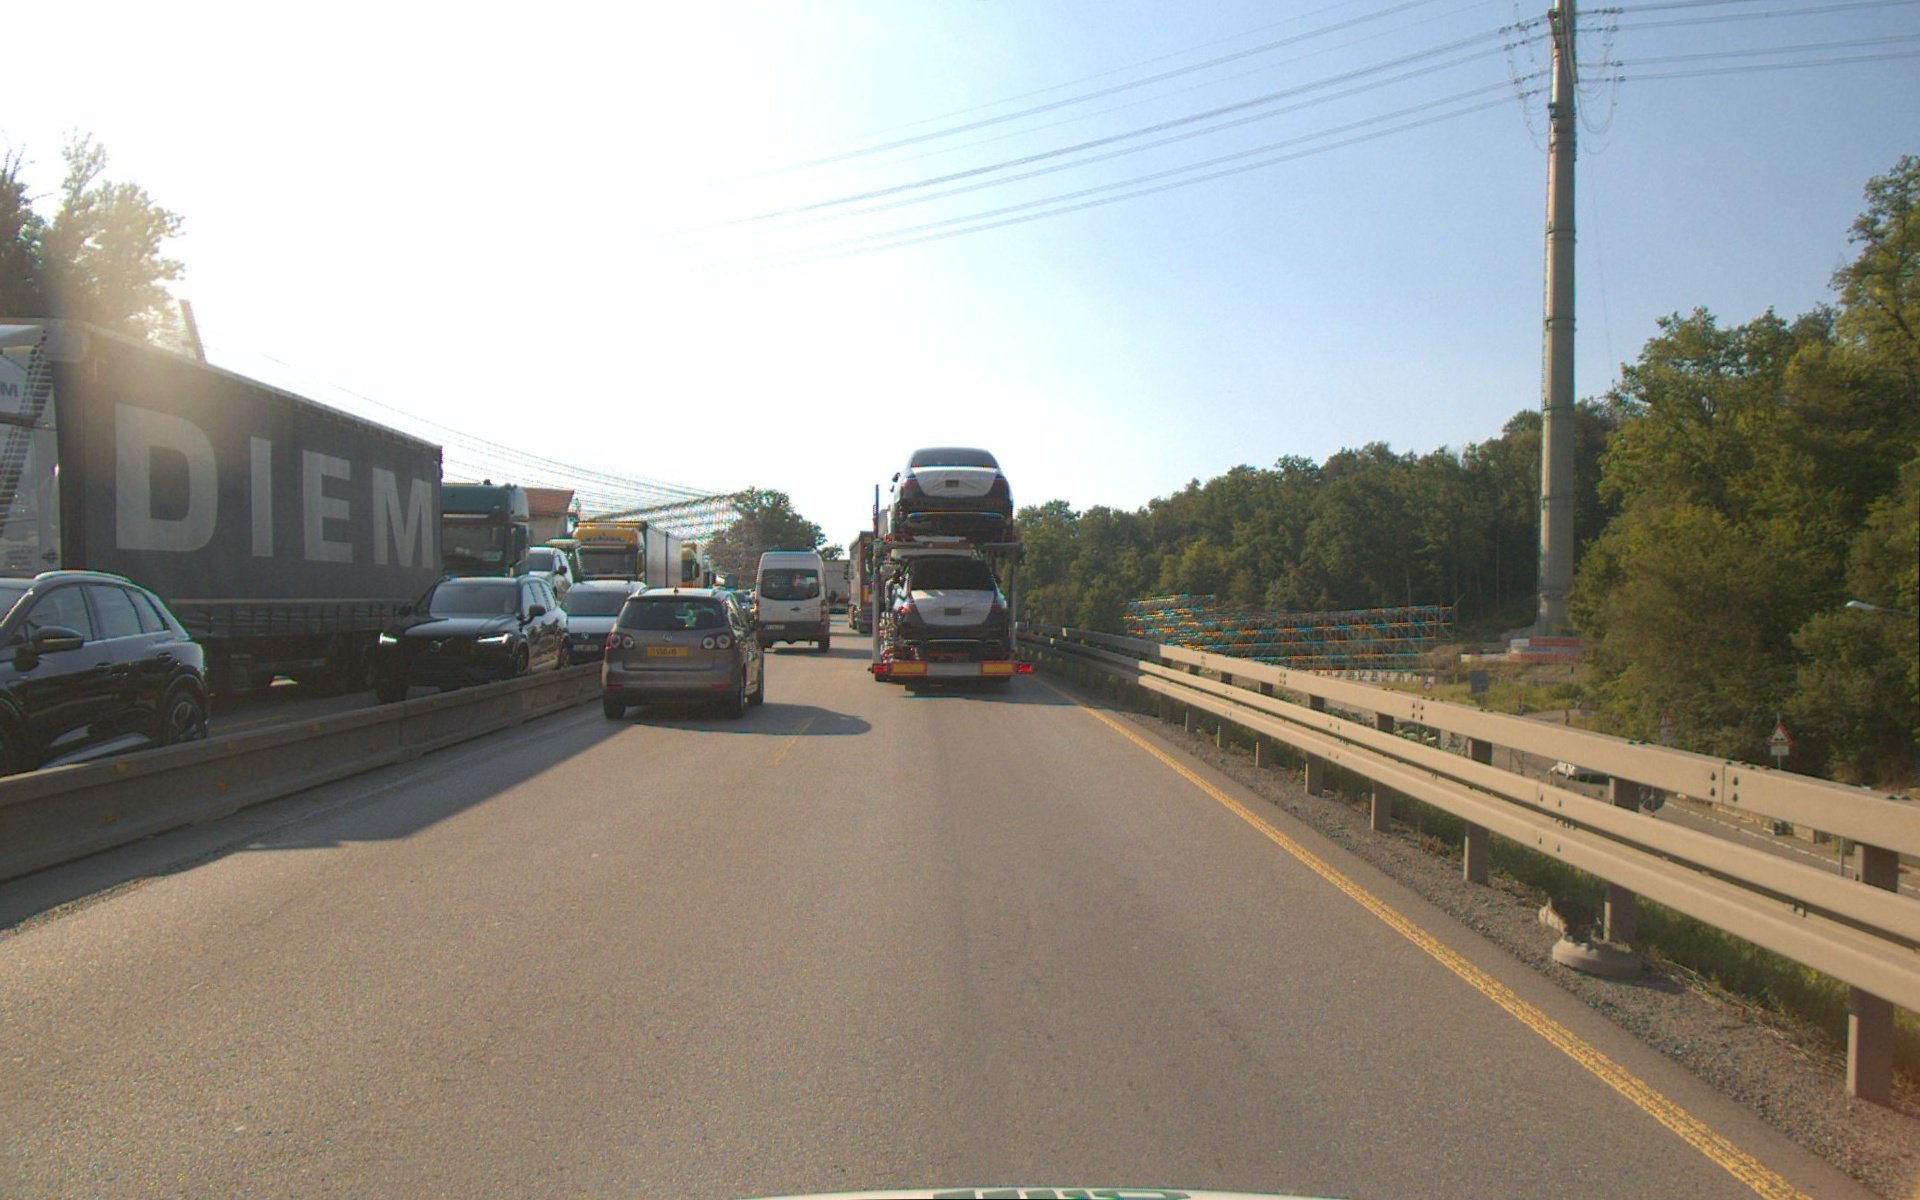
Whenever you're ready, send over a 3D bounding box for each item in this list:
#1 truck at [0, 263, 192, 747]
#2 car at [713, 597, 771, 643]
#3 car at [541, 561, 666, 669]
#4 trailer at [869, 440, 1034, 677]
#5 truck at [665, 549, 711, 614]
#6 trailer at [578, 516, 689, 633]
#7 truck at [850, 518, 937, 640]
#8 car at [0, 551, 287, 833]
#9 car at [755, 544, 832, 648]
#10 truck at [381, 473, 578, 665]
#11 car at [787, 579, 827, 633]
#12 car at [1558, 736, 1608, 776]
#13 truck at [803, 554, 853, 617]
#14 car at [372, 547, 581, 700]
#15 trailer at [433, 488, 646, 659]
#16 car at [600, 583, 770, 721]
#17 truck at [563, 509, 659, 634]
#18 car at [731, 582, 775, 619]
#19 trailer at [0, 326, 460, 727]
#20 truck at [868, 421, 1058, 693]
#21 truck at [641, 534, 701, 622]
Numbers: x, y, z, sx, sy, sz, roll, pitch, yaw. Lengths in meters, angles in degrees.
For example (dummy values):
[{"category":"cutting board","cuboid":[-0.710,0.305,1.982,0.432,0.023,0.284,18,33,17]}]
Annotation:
[{"category":"truck","cuboid":[-9.714,-0.792,15.671,2.694,4.187,5.027,-1,0,-4]},{"category":"car","cuboid":[-8.197,0.765,62.427,1.921,1.673,4.843,0,-1,-5]},{"category":"car","cuboid":[-7.271,0.331,34.165,1.788,1.967,5.125,-3,-1,-5]},{"category":"trailer","cuboid":[-0.502,-0.617,36.091,2.817,4.064,15.269,0,-1,-3]},{"category":"truck","cuboid":[-18.697,-1.127,114.260,2.756,4.040,13.866,1,-1,-8]},{"category":"trailer","cuboid":[-13.100,-0.812,67.765,2.662,4.207,16.733,0,-1,-5]},{"category":"truck","cuboid":[-3.015,-0.886,70.825,3.165,4.758,11.683,0,1,-5]},{"category":"car","cuboid":[-6.561,0.579,11.353,1.839,1.633,5.366,-2,0,-2]},{"category":"car","cuboid":[-4.518,-0.077,45.353,1.940,2.731,4.144,0,-1,-3]},{"category":"truck","cuboid":[-10.668,-0.624,37.456,2.694,3.872,7.106,-1,0,-4]},{"category":"car","cuboid":[-6.215,0.268,67.124,1.499,2.049,3.995,2,-1,-6]},{"category":"car","cuboid":[28.812,7.194,76.578,1.493,1.486,4.271,-1,-1,11]},{"category":"truck","cuboid":[-10.511,-1.175,130.346,3.578,4.758,11.680,0,1,-6]},{"category":"car","cuboid":[-6.889,0.352,24.115,1.796,1.998,4.896,0,-1,-3]},{"category":"trailer","cuboid":[-11.191,-0.589,46.051,2.694,3.882,16.035,-1,0,-3]},{"category":"car","cuboid":[-3.468,0.639,21.519,1.666,1.615,4.145,0,-1,-2]},{"category":"truck","cuboid":[-12.320,-0.928,58.837,2.648,4.213,5.788,0,-1,-5]},{"category":"car","cuboid":[-9.926,0.043,79.441,1.889,1.731,4.686,0,-1,-5]},{"category":"trailer","cuboid":[-10.119,-0.746,23.640,2.661,4.195,12.485,-1,0,-3]},{"category":"truck","cuboid":[-0.086,-0.616,27.559,2.812,4.050,5.768,0,-1,-3]},{"category":"truck","cuboid":[-14.305,-1.048,82.131,2.642,4.270,4.391,0,-1,-7]}]
